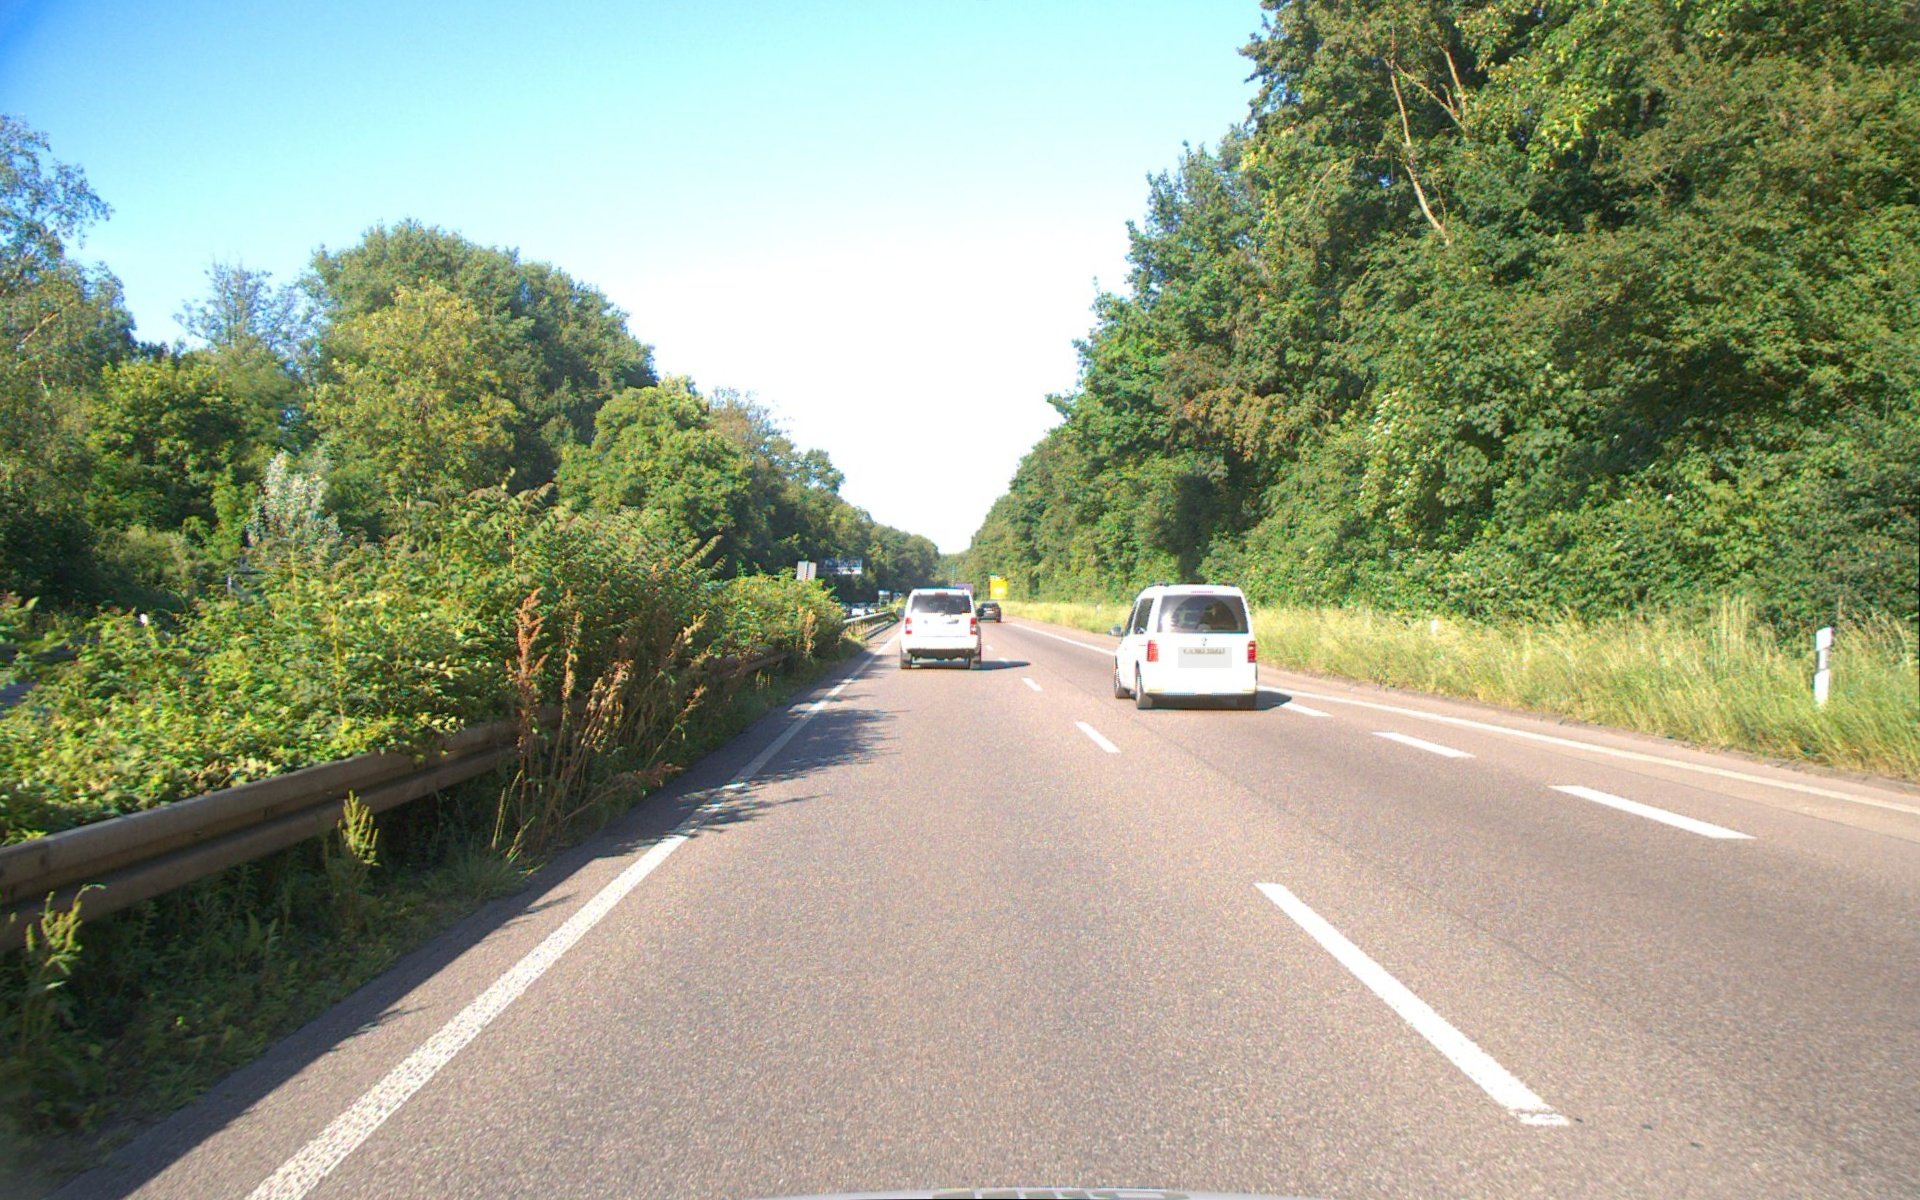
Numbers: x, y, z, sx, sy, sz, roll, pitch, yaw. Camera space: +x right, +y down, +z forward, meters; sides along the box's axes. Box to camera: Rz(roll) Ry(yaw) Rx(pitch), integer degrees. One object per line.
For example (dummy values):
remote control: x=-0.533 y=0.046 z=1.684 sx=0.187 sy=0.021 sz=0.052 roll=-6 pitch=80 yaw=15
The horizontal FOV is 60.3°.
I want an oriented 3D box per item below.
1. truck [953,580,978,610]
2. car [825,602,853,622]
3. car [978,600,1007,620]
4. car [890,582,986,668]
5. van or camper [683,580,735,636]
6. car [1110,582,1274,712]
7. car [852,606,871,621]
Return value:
truck: x=0.710 y=-0.741 z=239.854 sx=3.425 sy=4.246 sz=8.860 roll=0 pitch=0 yaw=-1
car: x=-9.556 y=0.939 z=130.884 sx=1.921 sy=1.567 sz=4.463 roll=1 pitch=0 yaw=-1
car: x=2.414 y=0.732 z=123.667 sx=1.953 sy=1.422 sz=3.999 roll=1 pitch=0 yaw=-1
car: x=-0.557 y=0.548 z=37.741 sx=2.044 sy=1.860 sz=3.998 roll=0 pitch=0 yaw=-3
van or camper: x=-12.985 y=0.411 z=85.747 sx=1.953 sy=2.769 sz=5.253 roll=0 pitch=0 yaw=-1
car: x=3.443 y=0.654 z=25.328 sx=1.825 sy=1.801 sz=4.469 roll=1 pitch=0 yaw=-1
car: x=-10.221 y=1.382 z=172.216 sx=1.839 sy=1.567 sz=4.463 roll=0 pitch=0 yaw=-1
